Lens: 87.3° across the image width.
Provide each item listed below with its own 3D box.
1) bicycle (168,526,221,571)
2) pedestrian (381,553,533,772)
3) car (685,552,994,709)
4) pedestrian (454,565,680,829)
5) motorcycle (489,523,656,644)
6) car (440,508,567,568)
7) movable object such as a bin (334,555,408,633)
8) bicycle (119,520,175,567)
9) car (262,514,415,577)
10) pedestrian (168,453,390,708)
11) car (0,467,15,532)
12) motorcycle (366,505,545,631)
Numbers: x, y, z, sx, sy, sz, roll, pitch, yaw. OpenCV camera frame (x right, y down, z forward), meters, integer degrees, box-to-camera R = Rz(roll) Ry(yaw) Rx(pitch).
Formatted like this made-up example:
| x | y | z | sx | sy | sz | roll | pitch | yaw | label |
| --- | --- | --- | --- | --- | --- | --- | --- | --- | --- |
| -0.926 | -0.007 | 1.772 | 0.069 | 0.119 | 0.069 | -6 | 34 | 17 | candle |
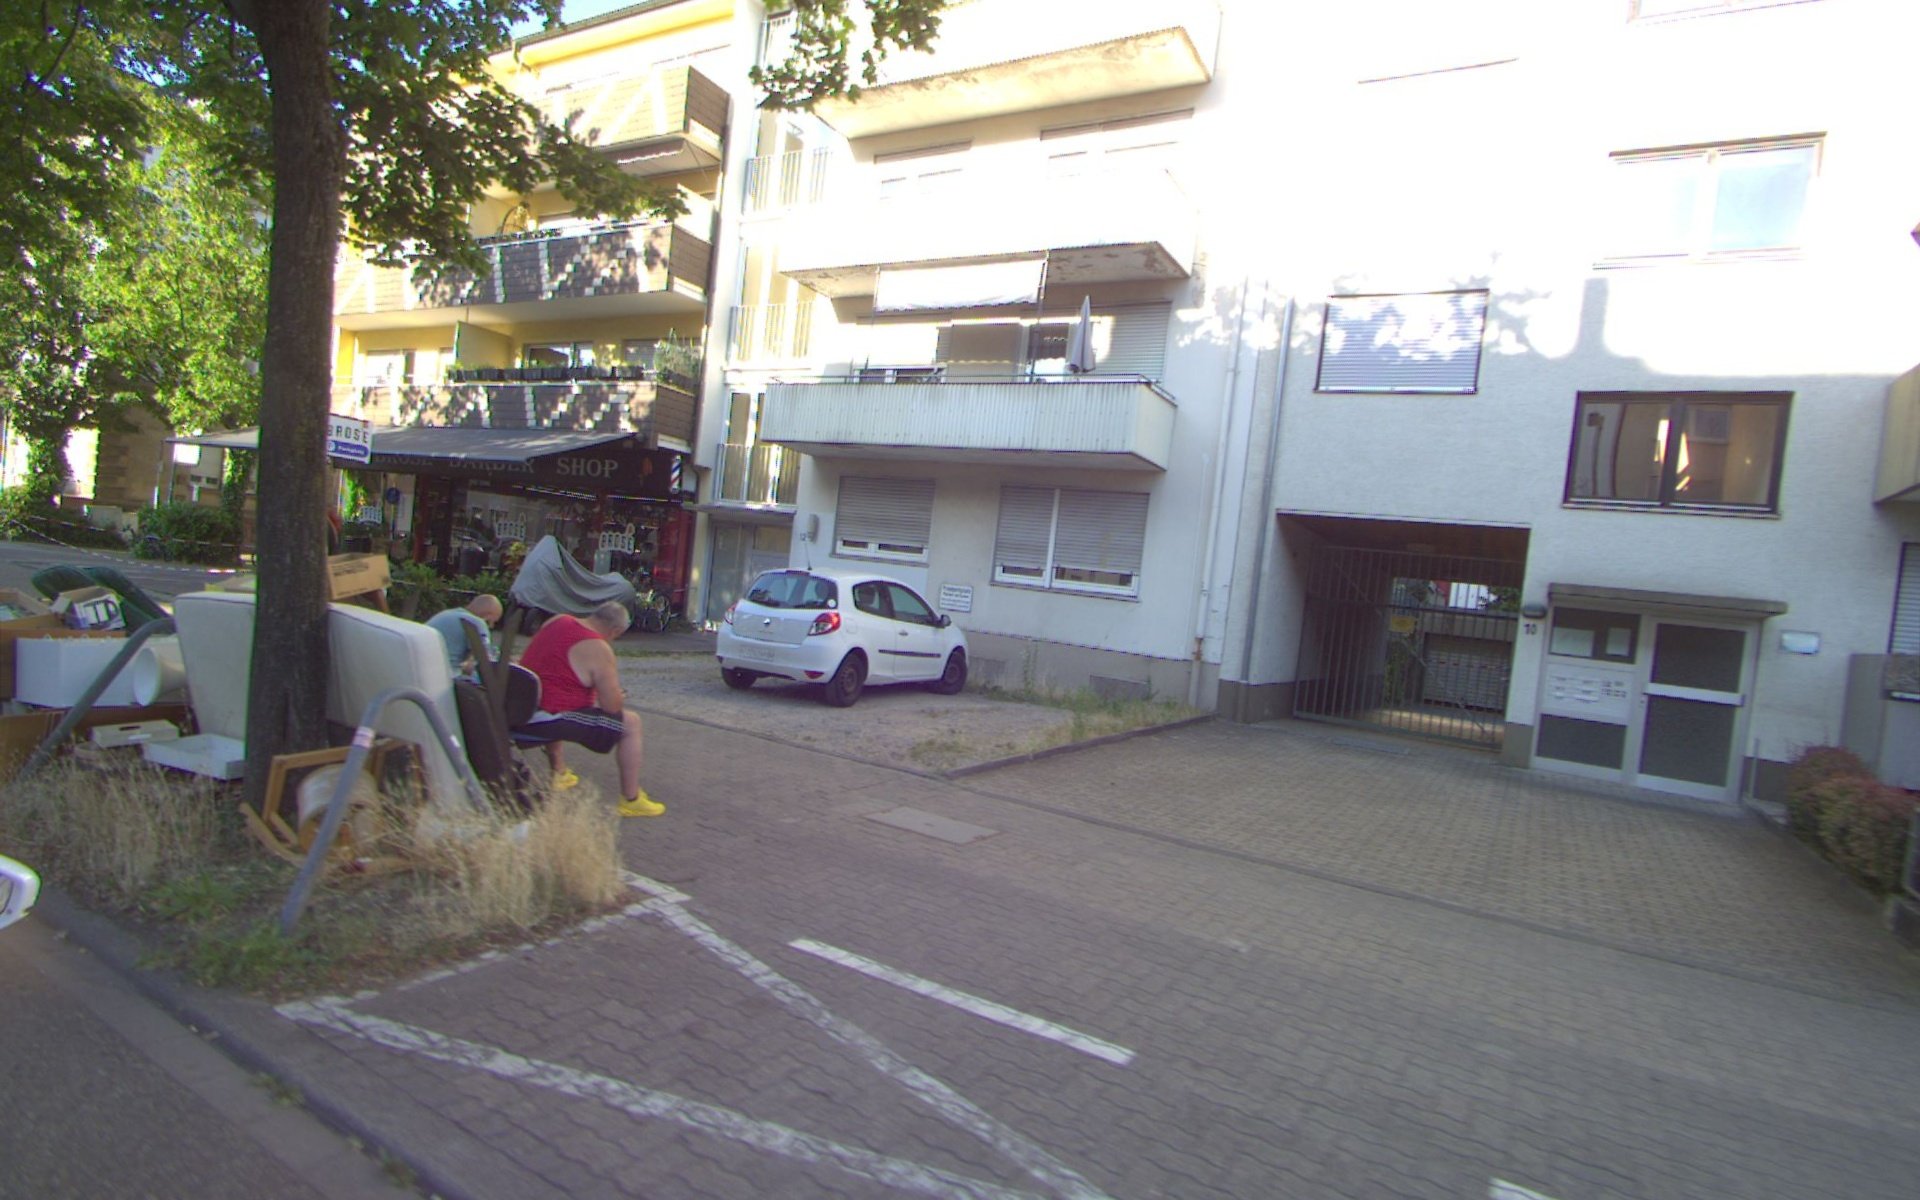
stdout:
| x | y | z | sx | sy | sz | roll | pitch | yaw | label |
| --- | --- | --- | --- | --- | --- | --- | --- | --- | --- |
| -18.938 | -1.276 | 24.889 | 1.554 | 0.963 | 0.342 | 7 | 4 | 26 | bicycle |
| -3.198 | 0.389 | 6.385 | 0.649 | 1.270 | 0.651 | 6 | 2 | -37 | pedestrian |
| -1.310 | 0.405 | 12.635 | 1.793 | 1.480 | 3.994 | 7 | 1 | 28 | car |
| -2.149 | 0.503 | 5.546 | 0.688 | 1.270 | 0.798 | 7 | 1 | 29 | pedestrian |
| -6.052 | -0.223 | 15.833 | 0.876 | 1.642 | 2.193 | 8 | 1 | 37 | motorcycle |
| -14.772 | -1.986 | 32.685 | 1.633 | 1.436 | 3.349 | 7 | 1 | 32 | car |
| -7.923 | -0.081 | 13.541 | 0.530 | 0.961 | 0.613 | 8 | 2 | 32 | movable object such as a bin |
| -19.823 | -1.382 | 24.522 | 1.554 | 0.961 | 0.343 | 7 | -1 | 26 | bicycle |
| -21.104 | -1.818 | 34.290 | 1.897 | 1.605 | 3.921 | 7 | 1 | 32 | car |
| -4.426 | -0.110 | 6.612 | 0.470 | 1.495 | 1.065 | 7 | 1 | 12 | pedestrian |
| -29.466 | -3.101 | 27.906 | 1.878 | 1.916 | 4.547 | 7 | 1 | 4 | car |
| -7.552 | -0.439 | 15.161 | 0.720 | 1.642 | 2.193 | 8 | 1 | 37 | motorcycle |
